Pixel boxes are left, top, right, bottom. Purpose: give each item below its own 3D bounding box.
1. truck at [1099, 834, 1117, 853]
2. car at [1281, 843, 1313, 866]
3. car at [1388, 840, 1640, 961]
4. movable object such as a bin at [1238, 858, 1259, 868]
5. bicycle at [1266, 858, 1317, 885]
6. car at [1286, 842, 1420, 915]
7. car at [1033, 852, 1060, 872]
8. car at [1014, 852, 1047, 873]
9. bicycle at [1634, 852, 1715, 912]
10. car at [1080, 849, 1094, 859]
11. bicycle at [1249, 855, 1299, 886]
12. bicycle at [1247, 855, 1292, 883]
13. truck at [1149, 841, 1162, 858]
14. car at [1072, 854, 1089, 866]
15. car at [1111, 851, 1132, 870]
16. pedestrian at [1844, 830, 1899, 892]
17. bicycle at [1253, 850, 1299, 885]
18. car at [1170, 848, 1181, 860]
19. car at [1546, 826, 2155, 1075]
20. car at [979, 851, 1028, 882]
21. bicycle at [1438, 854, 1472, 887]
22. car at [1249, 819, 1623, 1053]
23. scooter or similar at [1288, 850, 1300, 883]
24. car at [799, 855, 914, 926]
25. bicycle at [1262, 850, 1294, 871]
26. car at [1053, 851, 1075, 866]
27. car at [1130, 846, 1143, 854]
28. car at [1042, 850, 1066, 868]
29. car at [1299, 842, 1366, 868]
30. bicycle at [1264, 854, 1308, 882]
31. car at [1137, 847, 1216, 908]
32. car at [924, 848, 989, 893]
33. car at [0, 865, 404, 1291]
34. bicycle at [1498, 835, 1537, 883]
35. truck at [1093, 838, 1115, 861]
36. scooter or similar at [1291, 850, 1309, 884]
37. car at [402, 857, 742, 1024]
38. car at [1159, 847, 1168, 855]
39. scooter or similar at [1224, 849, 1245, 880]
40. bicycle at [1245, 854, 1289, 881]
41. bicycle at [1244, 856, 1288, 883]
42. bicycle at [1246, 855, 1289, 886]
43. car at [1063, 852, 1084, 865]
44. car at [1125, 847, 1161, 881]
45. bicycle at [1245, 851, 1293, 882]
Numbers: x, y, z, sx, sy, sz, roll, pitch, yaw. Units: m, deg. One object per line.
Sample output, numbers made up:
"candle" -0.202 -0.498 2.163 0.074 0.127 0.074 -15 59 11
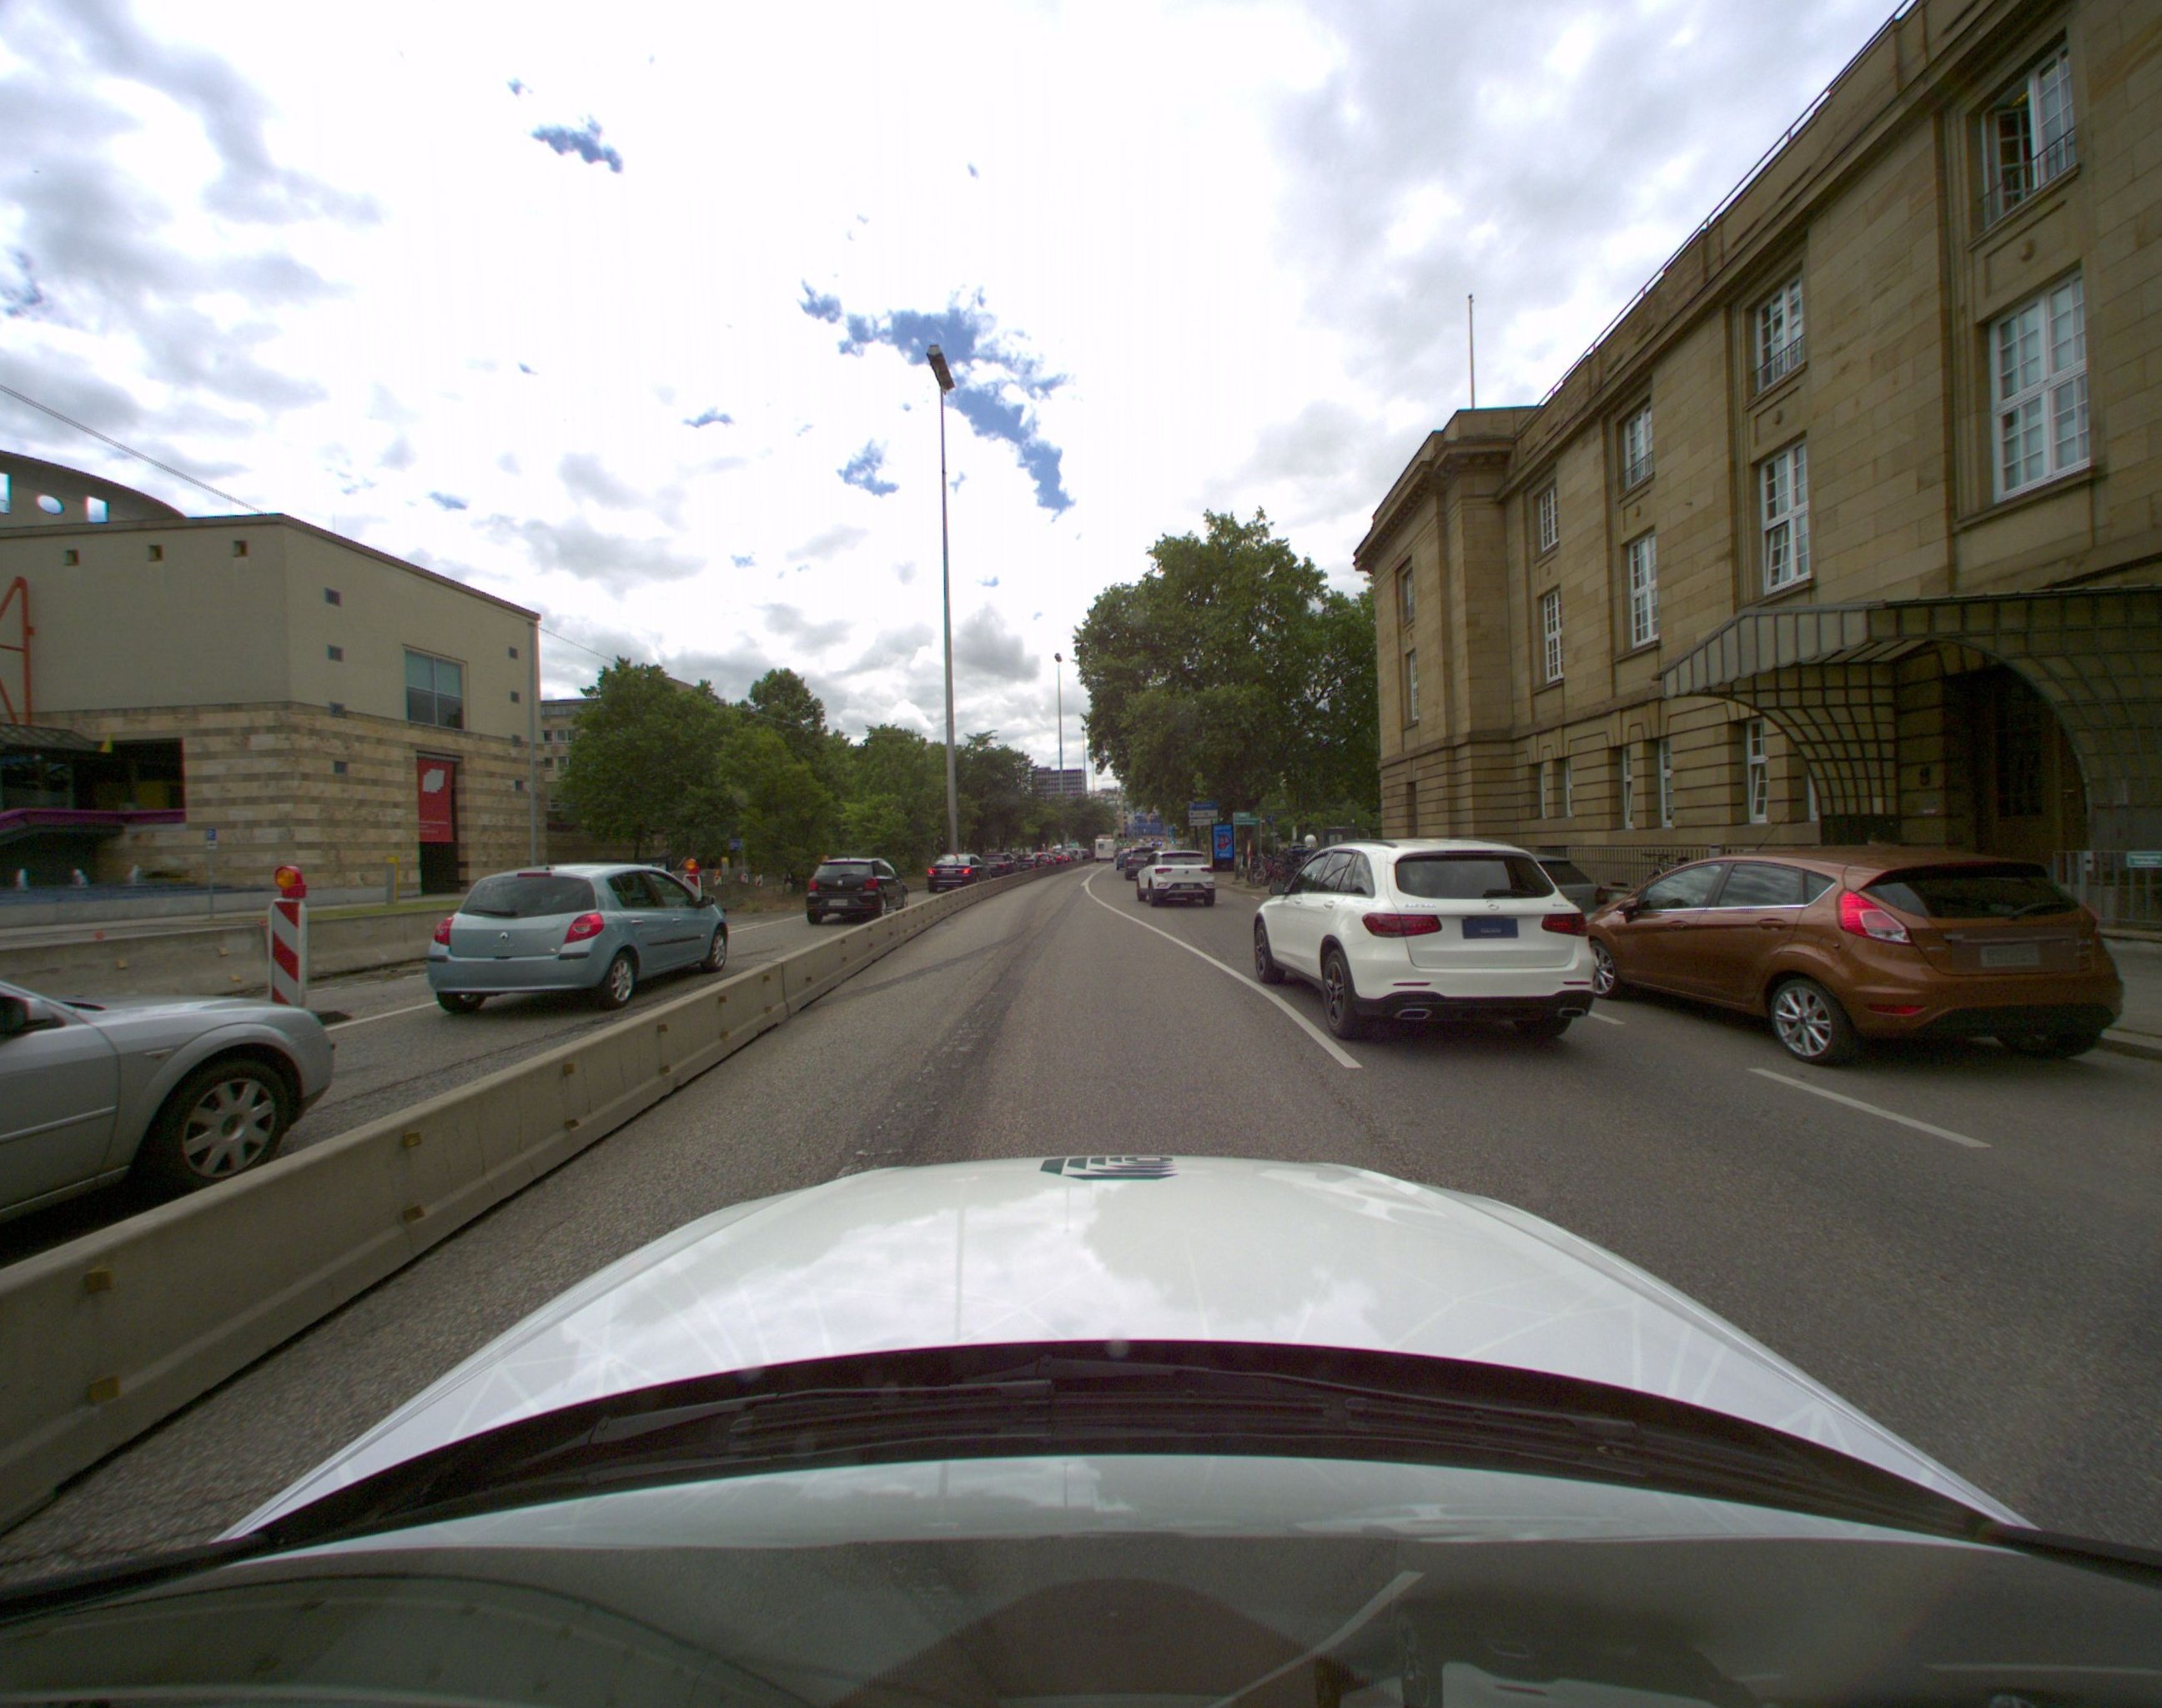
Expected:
"truck" 4.405 -1.693 131.966 2.680 2.992 5.642 0 0 3
"car" 17.066 0.022 64.596 1.752 1.551 4.033 -2 2 5
"car" 6.130 0.583 12.111 1.702 1.426 3.999 -3 0 2
"movable object such as a bin" 10.656 0.570 51.920 1.290 0.652 0.731 0 -1 12
"bicycle" 7.718 0.641 29.884 1.713 0.917 0.617 -2 0 22
"car" 6.235 0.518 19.186 1.782 1.486 4.326 -1 0 1
"car" -2.601 0.616 61.935 1.654 1.436 3.964 -1 0 3
"car" -3.429 0.543 55.684 1.671 1.367 4.547 -2 0 3
"bicycle" 10.928 0.487 15.060 0.221 1.029 1.861 0 0 3
"car" 0.841 0.042 111.037 1.651 1.319 3.552 -1 0 5
"bicycle" 6.926 0.602 29.177 1.648 1.074 0.588 -1 0 22
"bicycle" 7.513 0.587 32.545 1.717 1.091 0.576 0 0 12
"truck" 18.126 -1.111 198.643 2.865 4.103 6.644 0 0 4
"car" -0.003 0.709 94.832 1.651 1.319 3.552 -1 0 5
"car" 3.252 0.524 64.688 1.652 1.413 3.550 -1 0 3
"pedestrian" 11.322 0.105 11.672 0.427 0.873 0.373 0 -1 4
"bicycle" 7.076 0.490 29.576 1.529 1.257 0.546 0 0 22
"car" 16.857 -0.030 145.396 1.984 2.013 4.006 -1 0 5
"car" 5.829 0.597 6.942 1.609 1.455 3.861 -3 0 3
"car" -3.982 0.607 42.622 1.808 1.499 4.773 -2 0 4
"bicycle" 11.598 0.491 25.293 0.239 0.997 1.964 -2 0 3
"car" 2.953 0.579 7.954 1.782 1.625 4.438 -1 0 1
"scooter or similar" 8.131 0.481 31.057 0.422 1.224 1.317 0 -1 14
"car" -5.148 0.768 19.231 1.655 1.454 4.194 -1 0 -2
"bicycle" 11.849 0.383 49.052 1.776 1.221 0.493 -1 0 6
"car" -1.634 0.439 77.359 1.651 1.319 3.553 -1 0 5
"car" 9.059 -0.630 132.194 1.938 1.319 4.022 -1 0 5
"car" -2.284 0.425 69.568 1.769 1.420 4.003 -2 0 2
"car" 16.053 0.071 52.148 3.819 1.568 1.681 -1 0 3
"bicycle" 7.570 0.507 30.127 1.552 1.028 0.437 0 0 14
"car" 2.680 0.633 23.566 1.790 1.608 3.753 -1 0 -1
"car" -4.840 0.609 32.355 1.918 1.636 4.933 -1 0 -1
"car" -4.728 0.813 2.343 1.875 1.481 4.697 -1 0 -4
"bicycle" 11.245 0.137 21.011 0.274 1.183 1.540 -3 -1 6
"truck" 2.966 -0.552 104.809 2.610 2.861 7.084 0 0 3
"scooter or similar" 8.290 0.477 30.858 0.559 1.278 1.151 0 0 9
"car" -5.488 0.794 9.437 1.669 1.507 3.849 -1 0 -3
"car" 18.088 -0.610 178.024 1.750 1.669 4.173 -1 0 4
"scooter or similar" 6.854 0.455 36.372 0.722 1.331 1.414 0 0 3
"bicycle" 7.534 0.550 32.937 1.715 1.091 0.382 0 0 16
"bicycle" 7.625 0.633 33.585 1.715 1.091 0.427 0 0 16
"bicycle" 7.104 0.613 31.002 1.616 1.130 0.466 0 0 -23
"car" -0.737 0.486 84.335 1.650 1.319 3.554 -1 0 7
"car" 3.124 0.480 41.697 1.653 1.639 3.548 -1 0 1
"bicycle" 7.417 0.499 32.106 1.752 1.209 0.604 0 0 0
